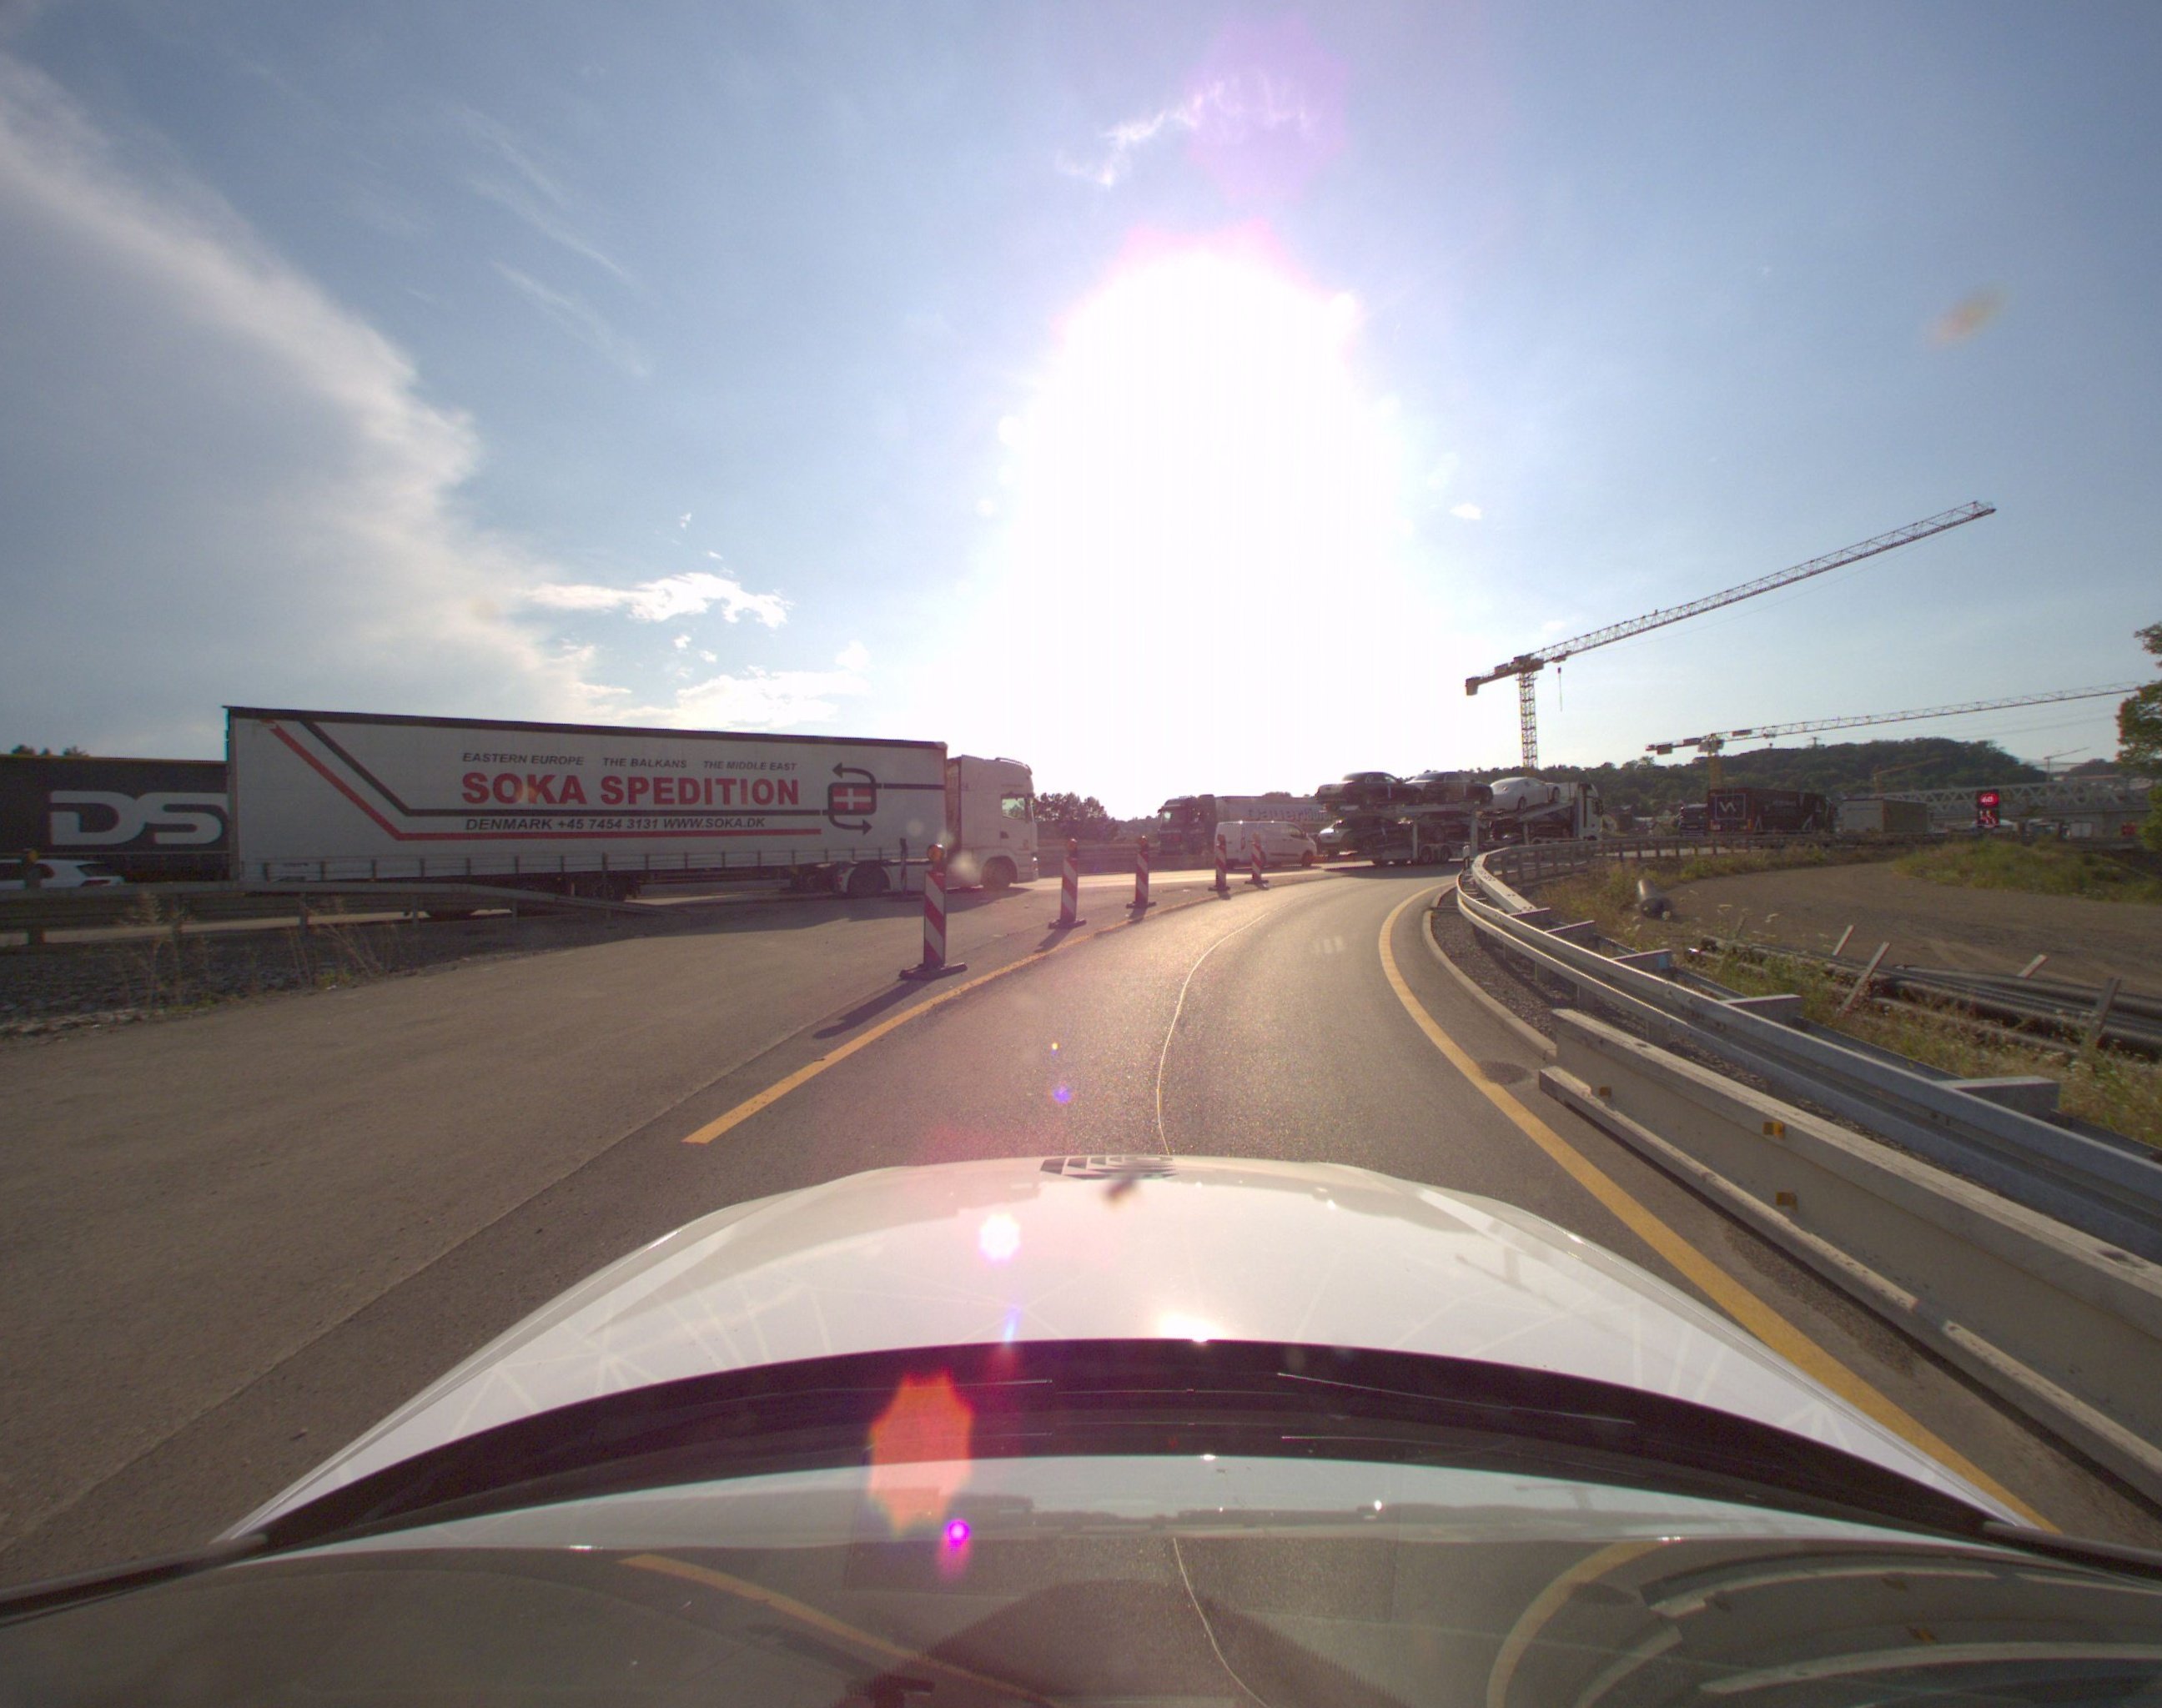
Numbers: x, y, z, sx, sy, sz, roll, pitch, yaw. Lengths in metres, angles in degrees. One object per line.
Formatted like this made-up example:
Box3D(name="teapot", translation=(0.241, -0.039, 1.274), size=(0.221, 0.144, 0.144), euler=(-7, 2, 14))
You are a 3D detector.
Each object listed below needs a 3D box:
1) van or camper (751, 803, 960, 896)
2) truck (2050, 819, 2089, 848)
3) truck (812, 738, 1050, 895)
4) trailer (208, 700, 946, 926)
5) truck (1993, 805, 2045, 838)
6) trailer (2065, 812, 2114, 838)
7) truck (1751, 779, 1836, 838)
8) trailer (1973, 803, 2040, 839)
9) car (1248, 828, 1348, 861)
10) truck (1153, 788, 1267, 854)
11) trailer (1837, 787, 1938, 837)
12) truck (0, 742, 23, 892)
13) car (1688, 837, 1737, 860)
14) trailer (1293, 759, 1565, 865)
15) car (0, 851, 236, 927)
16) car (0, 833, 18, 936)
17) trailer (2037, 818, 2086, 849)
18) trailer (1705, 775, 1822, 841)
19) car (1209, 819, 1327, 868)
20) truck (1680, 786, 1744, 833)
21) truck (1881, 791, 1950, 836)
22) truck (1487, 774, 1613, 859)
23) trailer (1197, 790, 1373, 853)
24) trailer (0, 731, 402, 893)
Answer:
Box3D(name="van or camper", translation=(-6.902, -0.165, 25.329), size=(5.926, 2.620, 1.979), euler=(-1, 0, -34))
Box3D(name="truck", translation=(149.711, -3.064, 123.310), size=(6.650, 4.285, 3.075), euler=(-1, -1, -34))
Box3D(name="truck", translation=(-4.107, -0.956, 22.796), size=(6.035, 3.878, 2.462), euler=(-1, 0, -34))
Box3D(name="trailer", translation=(-9.968, -0.795, 18.830), size=(13.684, 3.878, 2.462), euler=(-1, 0, -34))
Box3D(name="truck", translation=(118.251, -4.047, 102.650), size=(6.650, 3.996, 3.365), euler=(-1, 0, -34))
Box3D(name="trailer", translation=(175.651, -5.019, 141.775), size=(14.307, 4.314, 4.067), euler=(-1, 0, -34))
Box3D(name="truck", translation=(51.924, -3.215, 59.306), size=(6.648, 3.996, 2.865), euler=(-1, -1, -32))
Box3D(name="trailer", translation=(111.954, -3.900, 98.408), size=(14.802, 3.996, 3.360), euler=(-1, 0, -34))
Box3D(name="car", translation=(10.958, -0.518, 40.953), size=(4.997, 1.500, 2.015), euler=(-2, 2, -33))
Box3D(name="truck", translation=(6.696, -1.648, 42.075), size=(5.706, 3.134, 2.126), euler=(-1, -2, -31))
Box3D(name="trailer", translation=(71.988, -3.646, 72.522), size=(14.802, 3.996, 3.360), euler=(-1, 0, -34))
Box3D(name="truck", translation=(-29.109, -0.893, 18.366), size=(5.709, 3.727, 2.975), euler=(-1, -2, -33))
Box3D(name="car", translation=(48.389, -0.429, 62.391), size=(4.017, 1.654, 1.816), euler=(-1, -2, -35))
Box3D(name="trailer", translation=(15.990, -1.694, 36.184), size=(15.807, 3.996, 2.836), euler=(-1, 0, -34))
Box3D(name="car", translation=(-22.938, 0.765, 18.365), size=(4.997, 1.500, 2.015), euler=(-2, 2, -33))
Box3D(name="car", translation=(-22.768, 0.624, 14.534), size=(4.349, 2.014, 1.510), euler=(-1, -2, -34))
Box3D(name="trailer", translation=(143.865, -2.965, 119.430), size=(14.307, 4.314, 3.081), euler=(-1, 0, -34))
Box3D(name="trailer", translation=(47.283, -3.063, 56.303), size=(10.832, 4.092, 2.938), euler=(-1, -1, -32))
Box3D(name="car", translation=(8.047, -0.493, 34.935), size=(4.997, 1.980, 2.015), euler=(-2, 2, -33))
Box3D(name="truck", translation=(58.397, -4.077, 75.362), size=(6.152, 4.067, 2.609), euler=(-1, -2, -33))
Box3D(name="truck", translation=(79.279, -3.782, 77.386), size=(6.650, 3.996, 3.319), euler=(-1, 0, -34))
Box3D(name="truck", translation=(23.987, -1.834, 41.525), size=(6.650, 3.996, 2.828), euler=(-1, -1, -34))
Box3D(name="trailer", translation=(11.472, -1.755, 44.936), size=(11.016, 3.134, 2.126), euler=(-1, -2, -31))
Box3D(name="trailer", translation=(-24.407, -0.990, 21.467), size=(9.604, 3.752, 2.985), euler=(-1, -2, -33))
